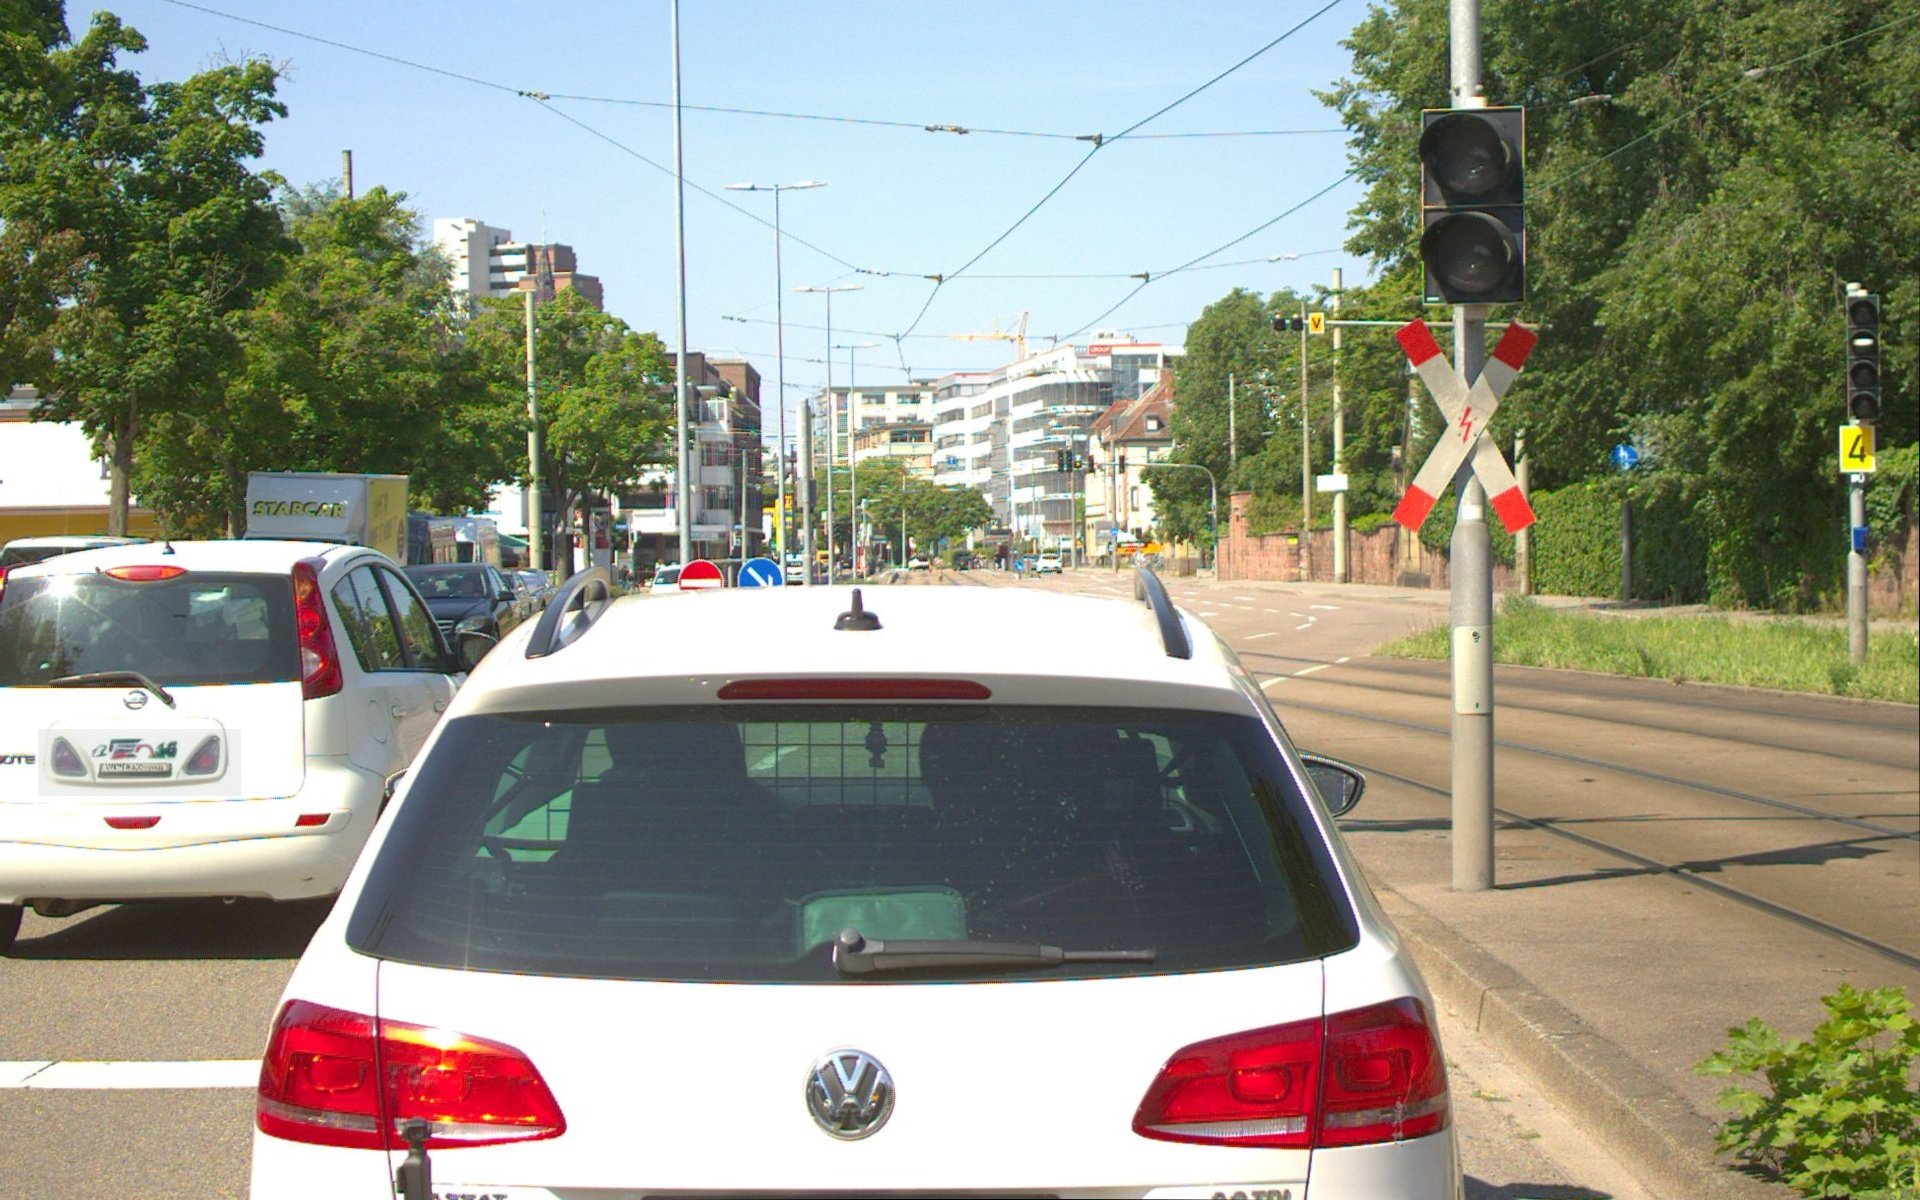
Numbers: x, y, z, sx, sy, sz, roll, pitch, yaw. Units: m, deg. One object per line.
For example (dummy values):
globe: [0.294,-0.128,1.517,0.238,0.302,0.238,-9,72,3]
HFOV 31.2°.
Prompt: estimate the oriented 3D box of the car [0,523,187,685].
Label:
car: [-11.533,0.018,44.555,2.195,1.934,5.186,-2,1,-5]

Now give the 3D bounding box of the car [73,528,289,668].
car: [-11.599,-0.071,51.556,2.195,1.934,5.185,-2,1,-2]

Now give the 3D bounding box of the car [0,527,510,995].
car: [-2.923,0.513,13.705,1.730,1.591,4.011,0,1,0]

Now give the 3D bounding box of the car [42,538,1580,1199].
car: [-0.182,0.656,5.937,1.778,1.485,3.847,1,1,0]

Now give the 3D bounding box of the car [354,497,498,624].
car: [-11.499,-0.882,74.486,2.196,2.621,5.979,1,1,0]

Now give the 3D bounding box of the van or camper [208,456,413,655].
van or camper: [-11.208,-0.795,59.837,2.196,3.230,6.772,1,1,1]

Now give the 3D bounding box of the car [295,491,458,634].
car: [-11.431,-0.762,67.770,2.196,2.659,6.080,1,1,0]

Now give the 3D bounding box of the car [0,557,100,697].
car: [-11.127,0.282,38.214,1.932,1.449,4.886,-2,1,-1]

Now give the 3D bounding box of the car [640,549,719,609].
car: [-7.191,-0.560,88.404,1.727,1.460,4.000,-1,1,-1]

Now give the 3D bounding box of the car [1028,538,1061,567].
car: [6.191,-3.503,252.299,2.126,2.007,5.283,-2,1,-1]

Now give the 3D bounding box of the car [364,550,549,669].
car: [-6.578,0.087,45.335,1.785,1.404,4.305,-1,2,0]
